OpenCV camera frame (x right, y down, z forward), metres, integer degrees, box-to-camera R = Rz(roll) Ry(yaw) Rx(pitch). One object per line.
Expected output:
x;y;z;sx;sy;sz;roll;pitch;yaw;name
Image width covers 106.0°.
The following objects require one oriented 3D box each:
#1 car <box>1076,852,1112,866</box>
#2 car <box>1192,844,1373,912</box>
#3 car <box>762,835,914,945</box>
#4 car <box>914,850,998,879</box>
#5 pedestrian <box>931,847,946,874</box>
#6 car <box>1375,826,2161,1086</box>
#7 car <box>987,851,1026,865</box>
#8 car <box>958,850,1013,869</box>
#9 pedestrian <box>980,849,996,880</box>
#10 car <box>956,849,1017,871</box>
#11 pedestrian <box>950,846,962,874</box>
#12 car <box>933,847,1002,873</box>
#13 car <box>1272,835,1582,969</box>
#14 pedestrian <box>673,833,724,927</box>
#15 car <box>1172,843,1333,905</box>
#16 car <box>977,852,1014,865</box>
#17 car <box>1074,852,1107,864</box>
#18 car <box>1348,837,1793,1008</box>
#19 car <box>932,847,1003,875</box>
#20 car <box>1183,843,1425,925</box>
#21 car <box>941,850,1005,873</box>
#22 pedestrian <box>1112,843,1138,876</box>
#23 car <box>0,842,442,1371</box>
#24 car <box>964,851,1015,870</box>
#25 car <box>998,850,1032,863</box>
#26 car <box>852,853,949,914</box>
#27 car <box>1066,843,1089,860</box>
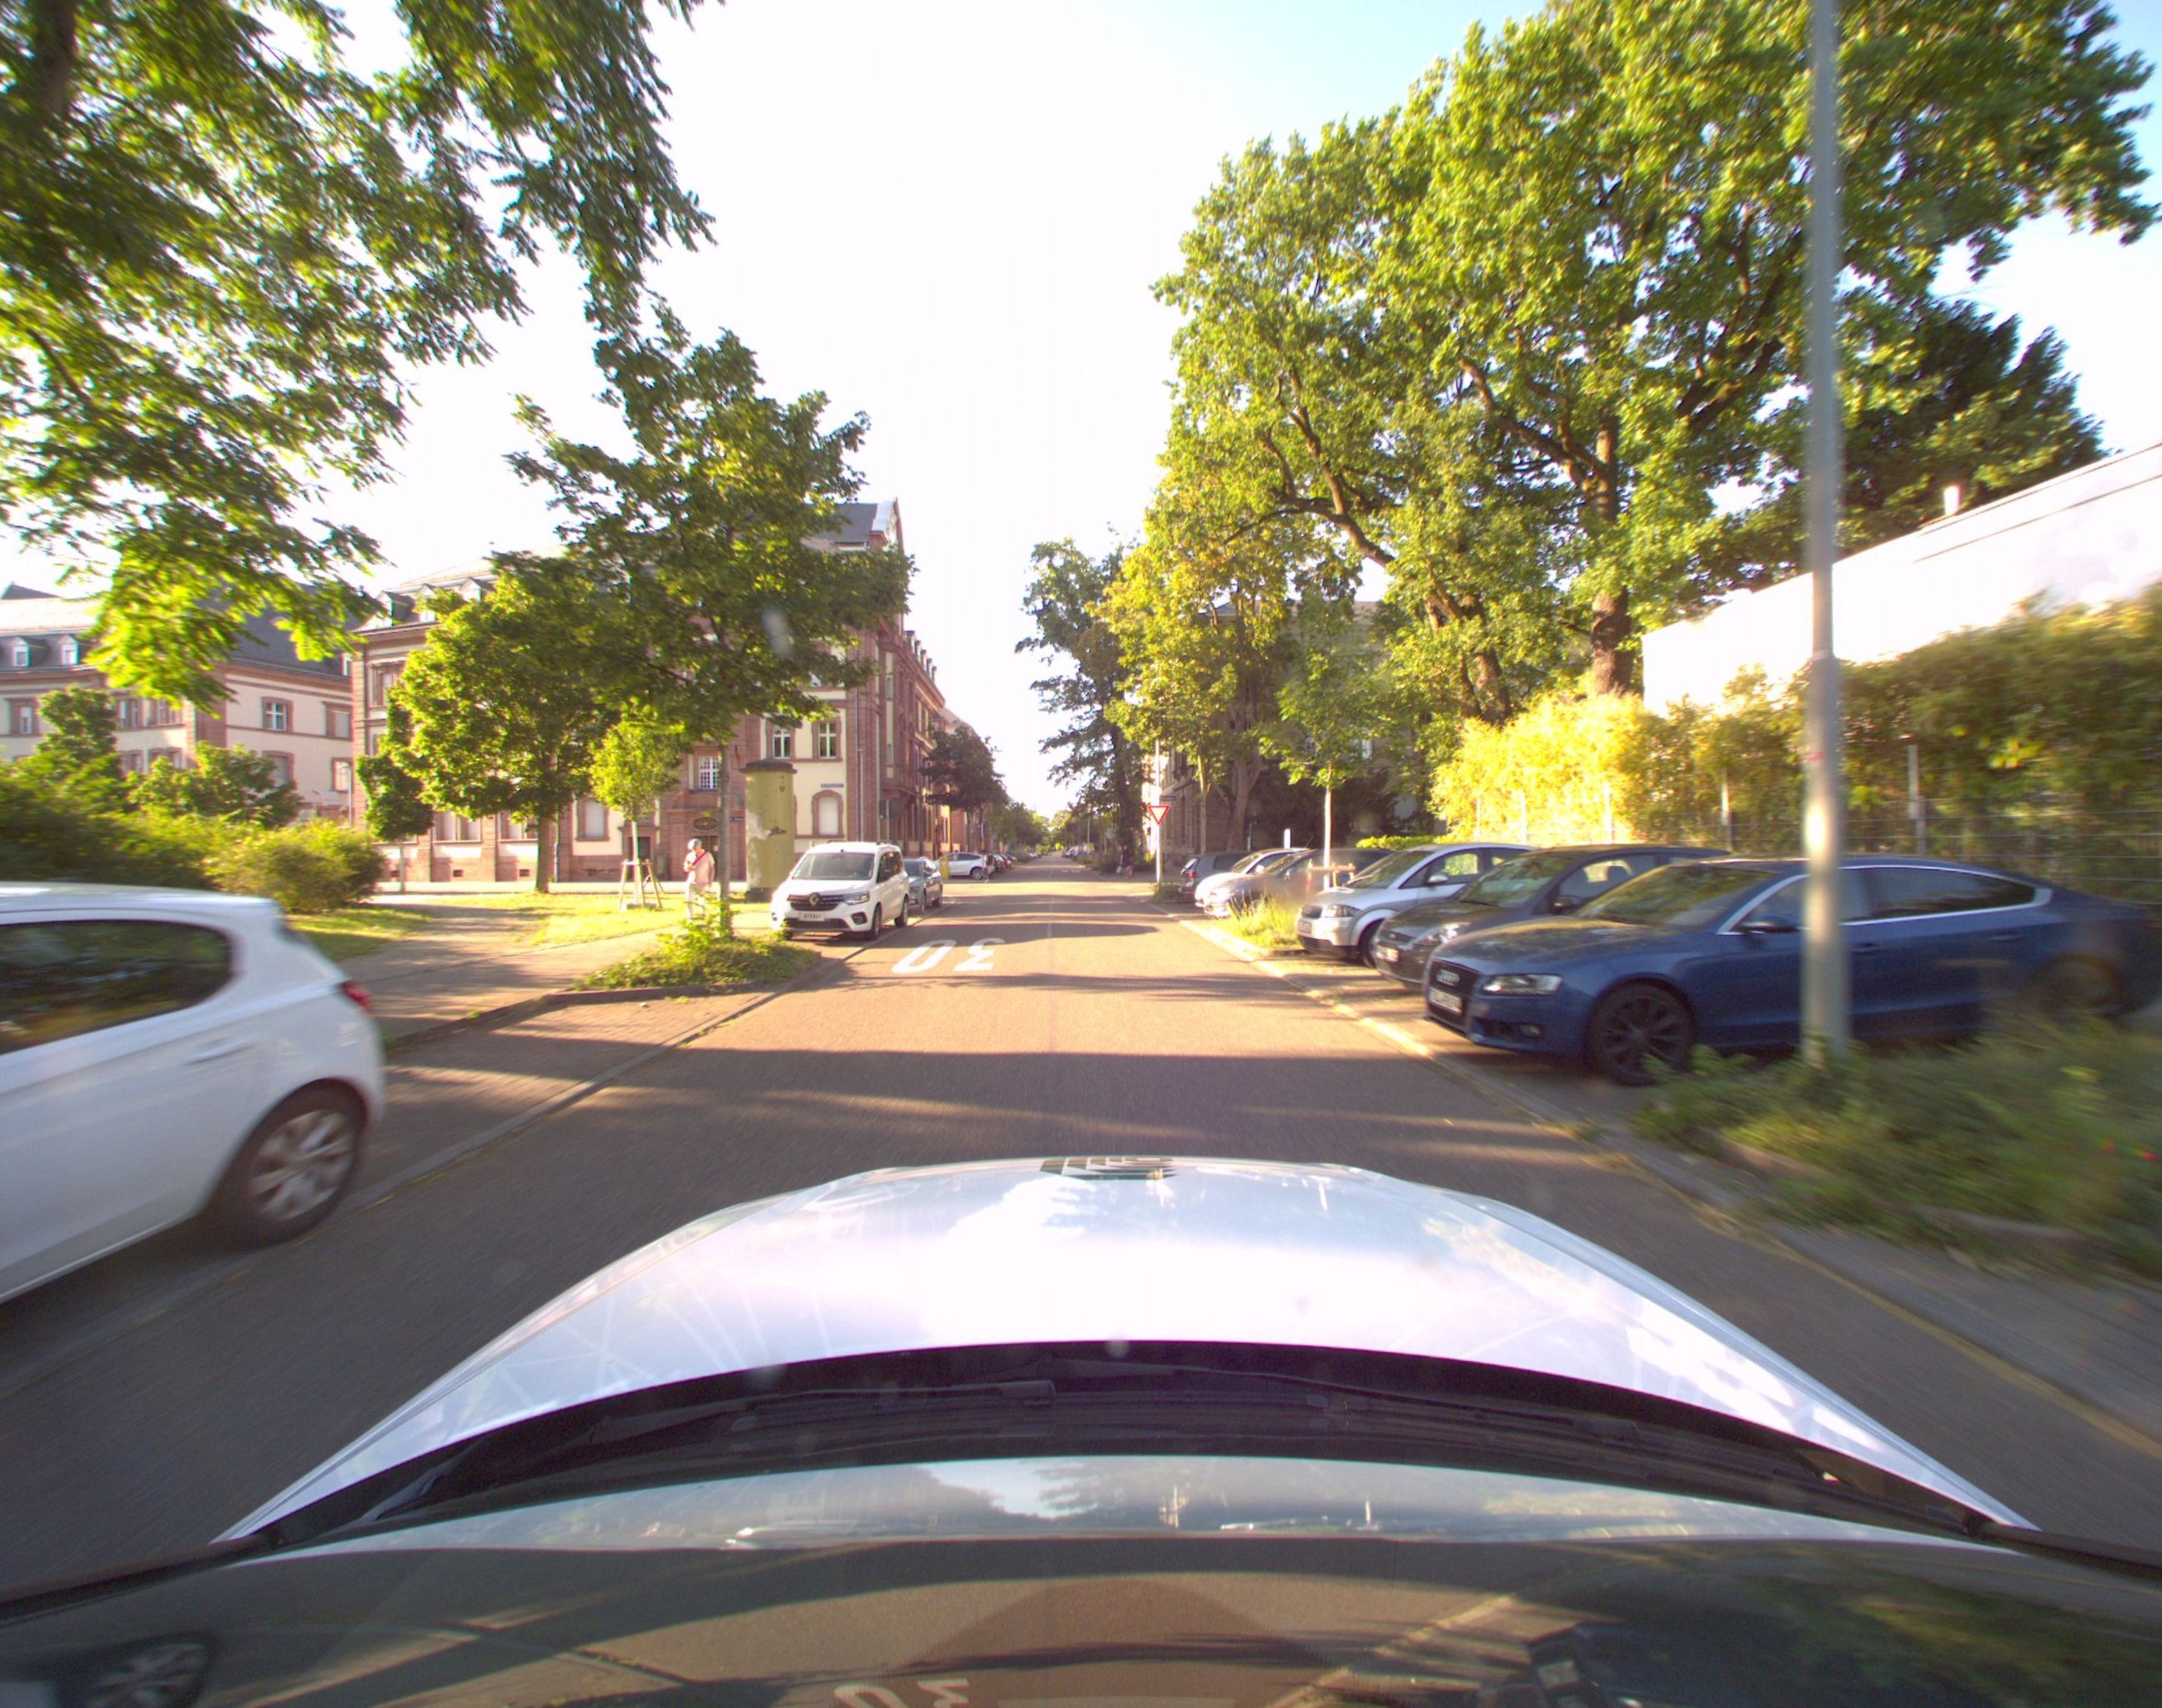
1.621;0.622;101.928;4.474;1.608;1.839;0;0;-4;car
4.741;0.551;19.541;3.940;1.516;1.675;-1;0;1;car
-4.584;0.596;16.080;1.776;1.840;4.549;-1;0;-2;car
-7.431;0.608;48.733;4.833;1.594;1.839;-1;0;-4;car
-10.435;0.474;59.651;0.711;1.962;0.792;-2;-2;37;pedestrian
4.863;0.644;6.108;4.575;1.415;1.922;-3;-1;-1;car
-8.747;0.450;95.661;4.474;1.608;1.839;0;0;-4;car
-7.983;0.457;68.394;4.474;1.608;1.839;0;0;-4;car
-4.882;0.569;42.683;0.784;1.606;0.718;-1;-1;-8;pedestrian
-7.149;0.443;62.059;4.474;1.608;1.839;0;0;-4;car
-8.773;0.425;57.199;0.785;1.962;0.718;-1;-1;-10;pedestrian
-7.689;0.411;55.435;4.474;1.716;1.839;-1;0;-4;car
4.580;0.567;11.005;3.496;1.584;1.755;-1;0;-12;car
-7.503;0.501;16.000;0.598;1.784;0.944;-1;0;-5;pedestrian
4.558;0.539;22.109;3.942;1.517;1.873;-1;-2;-1;car
-10.413;0.538;99.716;4.474;1.608;1.839;0;0;-4;car
1.377;0.560;119.214;4.574;1.608;1.839;0;0;-4;car
4.944;0.620;8.549;3.676;1.524;1.788;-1;0;-6;car
-7.361;0.456;53.283;4.474;1.716;1.839;-1;0;-4;car
4.540;0.574;16.978;4.484;1.549;1.888;-1;0;-5;car
-7.734;0.527;58.792;4.474;1.608;1.839;0;0;-4;car
2.505;0.314;46.040;1.068;1.858;0.992;0;0;-34;pedestrian
-3.911;0.740;2.094;1.588;1.526;3.861;-1;0;-3;car
-8.288;0.596;73.741;4.474;1.608;1.839;0;0;-4;car
-8.890;0.343;109.736;4.474;1.608;1.839;0;0;-4;car
-4.898;0.741;22.718;1.776;1.505;4.550;0;0;-1;car
-0.682;-0.494;174.987;4.875;3.617;1.840;0;0;-3;car
